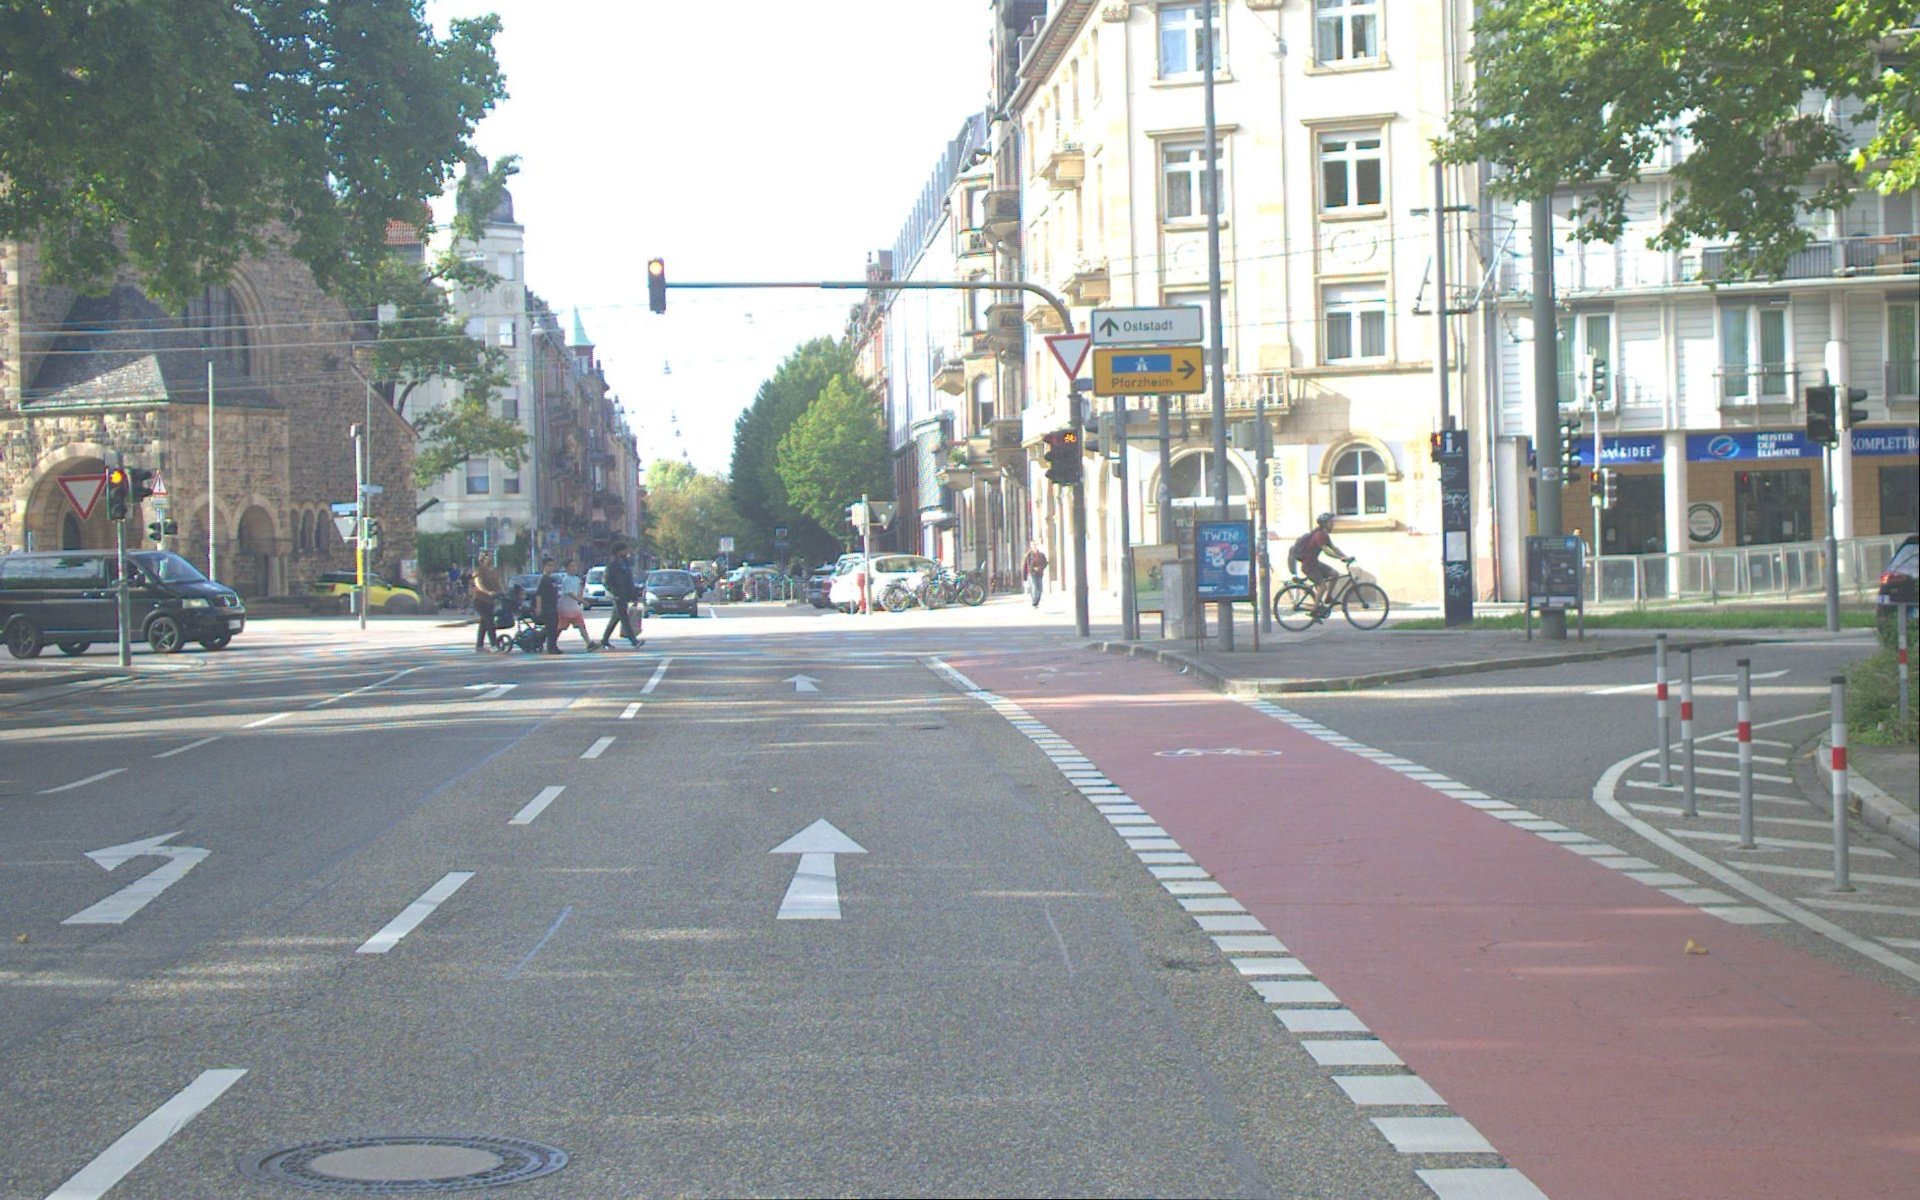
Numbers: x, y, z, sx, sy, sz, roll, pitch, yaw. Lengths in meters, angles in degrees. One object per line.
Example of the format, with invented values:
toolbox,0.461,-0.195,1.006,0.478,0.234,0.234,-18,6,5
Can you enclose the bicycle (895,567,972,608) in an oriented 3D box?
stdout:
bicycle,-0.725,-0.342,94.814,2.022,1.078,0.620,-2,1,-13

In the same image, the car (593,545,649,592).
car,-13.051,-1.208,132.590,1.949,1.744,4.001,-2,1,-3

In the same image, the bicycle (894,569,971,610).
bicycle,-0.759,-0.301,95.506,2.022,1.078,0.631,-2,1,-13

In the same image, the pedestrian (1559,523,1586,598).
pedestrian,14.095,-0.903,79.097,0.496,1.708,0.526,1,0,21

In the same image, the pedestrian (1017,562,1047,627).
pedestrian,1.816,-0.146,86.309,0.562,1.618,0.600,-1,1,18

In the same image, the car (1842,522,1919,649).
car,12.053,-0.200,39.756,3.989,1.409,1.756,-2,1,-44

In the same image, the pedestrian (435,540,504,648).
pedestrian,-7.479,-0.087,52.462,0.815,1.623,0.604,-1,1,21

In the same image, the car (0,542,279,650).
car,-15.292,-0.083,63.593,4.847,1.864,2.030,-1,1,17

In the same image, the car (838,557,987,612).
car,-1.364,-0.442,97.155,3.986,1.415,2.000,-2,1,-6

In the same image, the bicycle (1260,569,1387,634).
bicycle,5.610,0.023,53.074,1.832,0.952,0.572,-1,1,23

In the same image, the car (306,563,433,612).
car,-20.680,-0.459,120.451,3.989,1.590,1.868,-2,1,-42

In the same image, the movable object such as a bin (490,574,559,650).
movable object such as a bin,-6.607,0.179,52.153,0.838,1.120,0.575,-1,1,20

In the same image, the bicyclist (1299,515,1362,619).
bicyclist,5.723,-0.509,53.062,0.779,1.574,0.625,-1,1,23

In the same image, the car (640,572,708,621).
car,-8.684,-0.119,104.610,1.949,1.367,4.001,-2,1,-3

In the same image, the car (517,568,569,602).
car,-15.766,-0.585,130.039,1.550,1.225,3.588,0,1,-1

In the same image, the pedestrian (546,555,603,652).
pedestrian,-5.805,0.051,51.790,0.656,1.427,0.498,-1,1,20

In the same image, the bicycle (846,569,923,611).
bicycle,-2.074,-0.285,94.696,2.022,1.078,0.620,-2,1,-13

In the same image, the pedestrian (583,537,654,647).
pedestrian,-5.227,-0.121,52.616,0.781,1.656,0.778,-1,1,20

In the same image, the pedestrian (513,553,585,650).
pedestrian,-6.125,0.020,51.227,0.781,1.427,0.730,-1,1,20
